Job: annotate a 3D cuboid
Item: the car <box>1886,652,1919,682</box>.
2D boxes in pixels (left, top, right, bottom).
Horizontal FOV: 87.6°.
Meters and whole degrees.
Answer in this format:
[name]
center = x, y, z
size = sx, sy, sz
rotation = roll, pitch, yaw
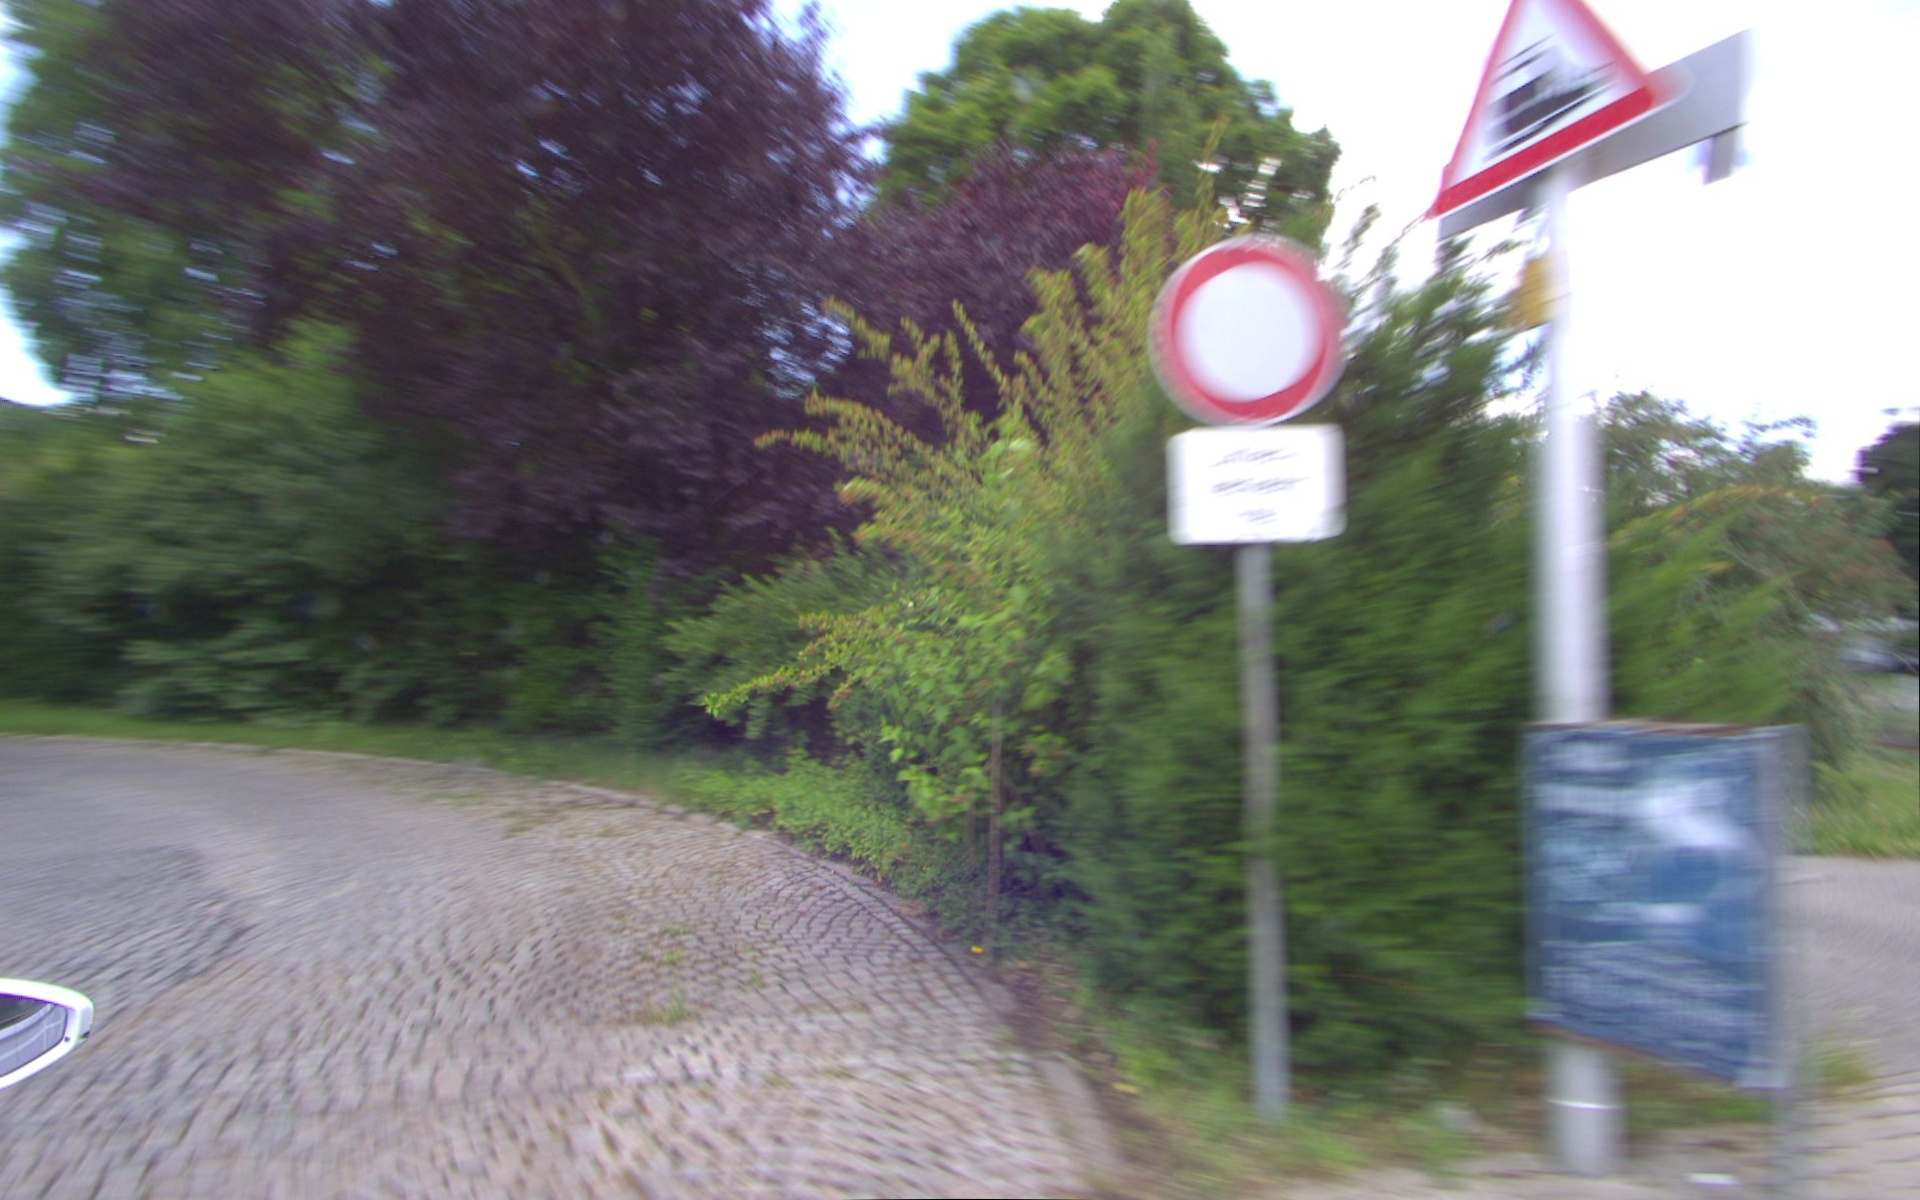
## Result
[car]
center = 55.838, 3.812, 56.772
size = 1.852, 1.732, 4.932
rotation = 1, -3, -4
